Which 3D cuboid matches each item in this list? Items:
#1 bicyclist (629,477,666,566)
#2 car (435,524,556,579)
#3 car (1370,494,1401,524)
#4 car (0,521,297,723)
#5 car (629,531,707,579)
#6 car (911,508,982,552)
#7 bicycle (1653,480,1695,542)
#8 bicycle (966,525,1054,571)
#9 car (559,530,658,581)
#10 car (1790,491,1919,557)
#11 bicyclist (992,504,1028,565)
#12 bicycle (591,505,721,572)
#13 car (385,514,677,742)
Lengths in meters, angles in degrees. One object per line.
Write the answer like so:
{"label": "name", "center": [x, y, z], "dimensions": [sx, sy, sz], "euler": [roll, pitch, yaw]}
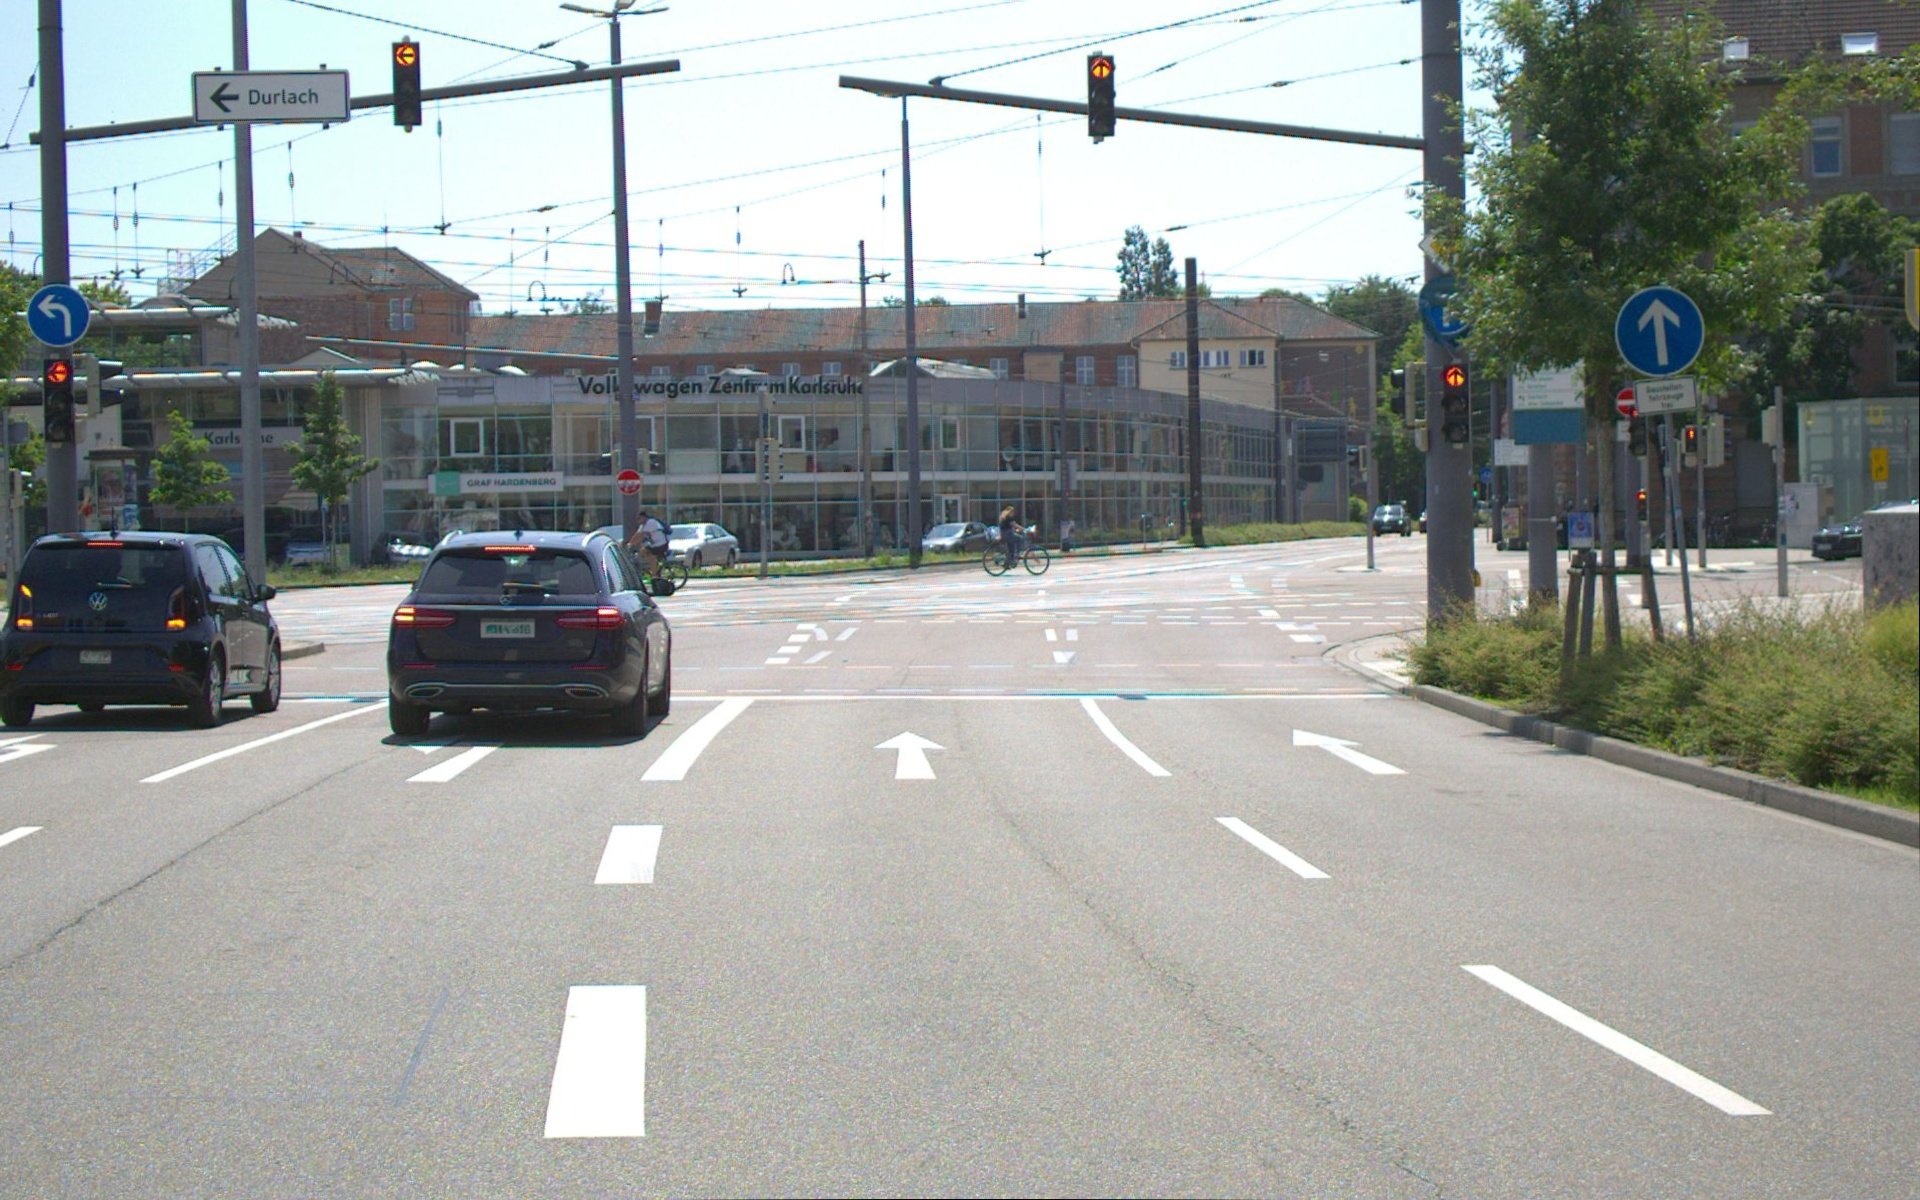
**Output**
{"label": "bicyclist", "center": [-6.889, -1.732, 75.869], "dimensions": [0.763, 1.931, 0.660], "euler": [0, 3, -2]}
{"label": "car", "center": [-12.182, -1.291, 90.374], "dimensions": [1.621, 1.385, 4.121], "euler": [-1, 1, 16]}
{"label": "car", "center": [22.327, -4.791, 180.519], "dimensions": [1.531, 1.454, 3.552], "euler": [0, 3, 5]}
{"label": "car", "center": [-6.396, 0.120, 27.084], "dimensions": [1.621, 1.458, 4.000], "euler": [-1, 1, -1]}
{"label": "car", "center": [-8.684, -1.344, 102.344], "dimensions": [1.432, 1.281, 3.260], "euler": [1, 3, 12]}
{"label": "car", "center": [-0.472, -2.546, 124.309], "dimensions": [1.572, 1.422, 3.611], "euler": [1, 3, 17]}
{"label": "bicycle", "center": [21.940, -2.748, 105.681], "dimensions": [0.612, 1.782, 3.182], "euler": [0, 3, -1]}
{"label": "bicycle", "center": [1.256, -1.318, 86.135], "dimensions": [2.160, 1.103, 0.457], "euler": [-1, 3, -18]}
{"label": "car", "center": [-9.876, -1.271, 96.753], "dimensions": [1.539, 1.273, 3.536], "euler": [1, 3, 16]}
{"label": "car", "center": [21.722, -1.805, 80.636], "dimensions": [4.100, 1.446, 1.698], "euler": [-1, 3, -20]}
{"label": "bicyclist", "center": [1.245, -1.644, 86.117], "dimensions": [0.731, 1.474, 0.656], "euler": [-1, 3, -19]}
{"label": "bicycle", "center": [-6.697, -1.361, 75.916], "dimensions": [2.825, 1.458, 0.634], "euler": [0, 3, -2]}
{"label": "car", "center": [-3.159, 0.147, 26.088], "dimensions": [1.716, 1.551, 4.587], "euler": [-1, 1, -1]}
